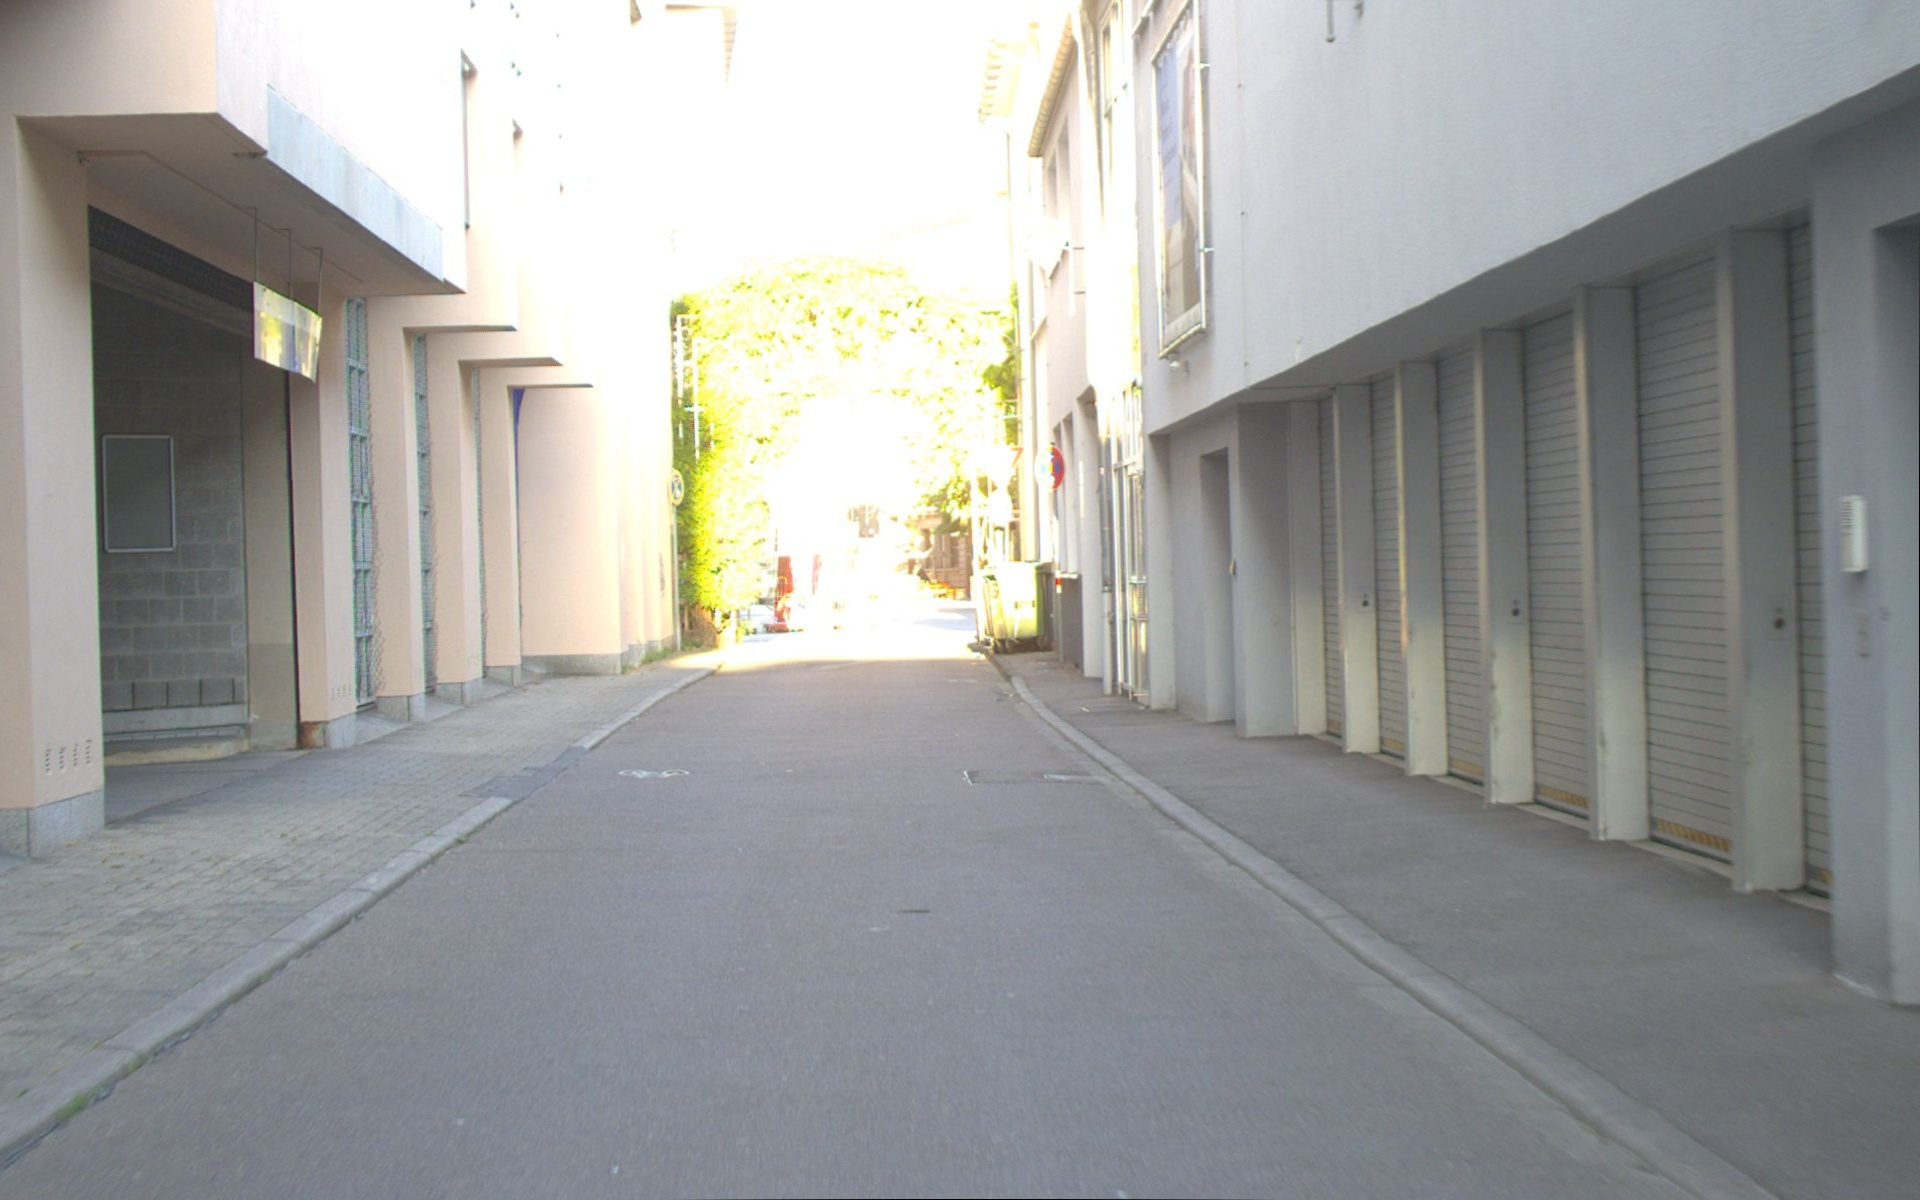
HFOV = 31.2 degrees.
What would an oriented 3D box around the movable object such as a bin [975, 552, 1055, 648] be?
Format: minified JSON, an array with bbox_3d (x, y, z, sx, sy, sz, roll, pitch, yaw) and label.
[{"bbox_3d":[0.813,-0.003,51.445,0.937,1.362,1.342,-4,1,-7],"label":"movable object such as a bin"}]
